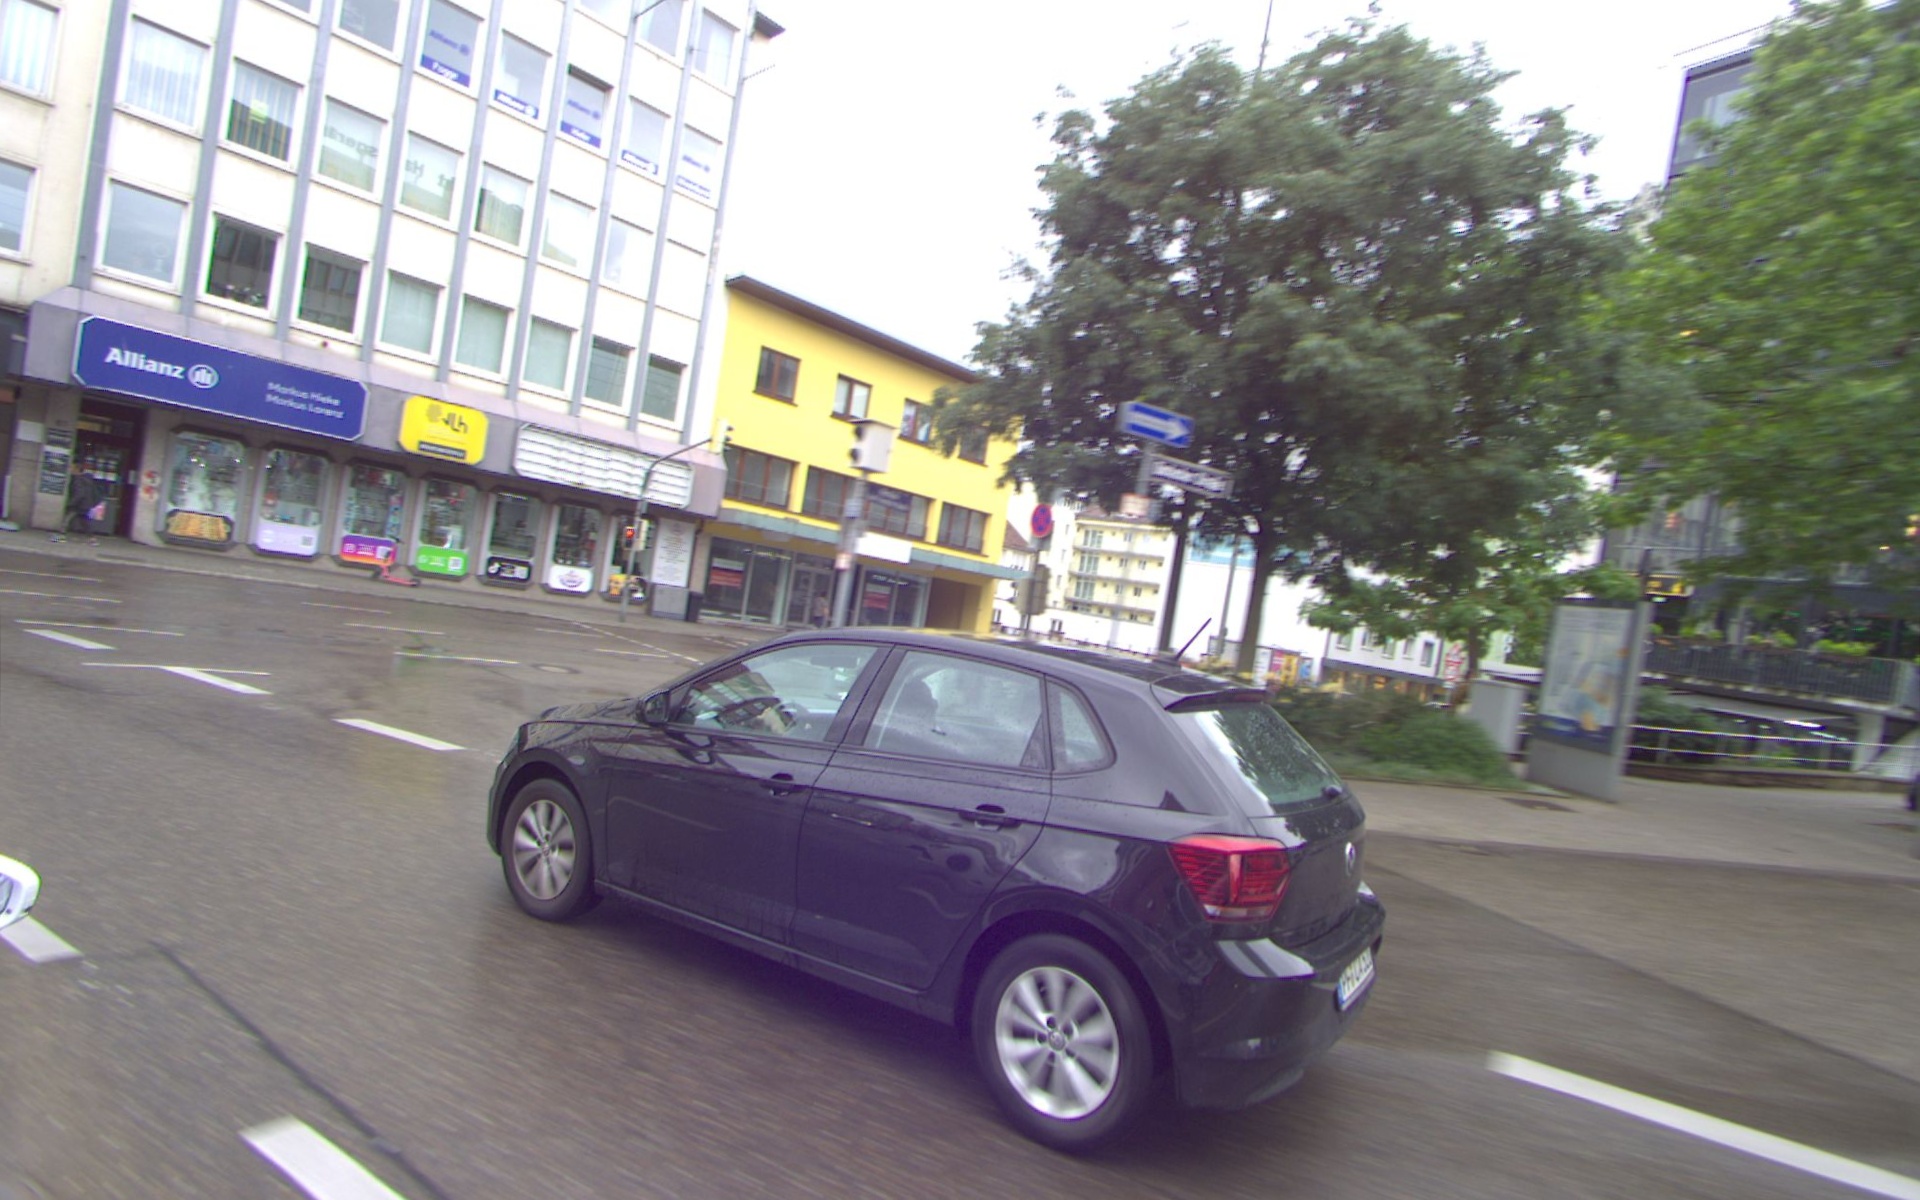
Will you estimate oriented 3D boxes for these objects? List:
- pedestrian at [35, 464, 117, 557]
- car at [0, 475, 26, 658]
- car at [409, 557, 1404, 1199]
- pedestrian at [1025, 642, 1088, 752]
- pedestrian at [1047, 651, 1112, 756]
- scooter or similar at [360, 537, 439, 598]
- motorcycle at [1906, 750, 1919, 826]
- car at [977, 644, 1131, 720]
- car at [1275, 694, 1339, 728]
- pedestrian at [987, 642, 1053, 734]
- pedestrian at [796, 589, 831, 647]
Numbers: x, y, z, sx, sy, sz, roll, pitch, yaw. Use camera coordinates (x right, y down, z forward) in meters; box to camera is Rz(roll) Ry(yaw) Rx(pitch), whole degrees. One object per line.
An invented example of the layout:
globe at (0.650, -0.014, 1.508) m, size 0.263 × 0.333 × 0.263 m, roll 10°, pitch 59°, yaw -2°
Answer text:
pedestrian at (-18.560, -1.873, 21.116) m, size 0.818 × 1.710 × 1.029 m, roll 14°, pitch 4°, yaw 40°
car at (-11.329, -0.645, 9.221) m, size 4.420 × 1.714 × 1.906 m, roll 7°, pitch -2°, yaw 16°
car at (-0.412, 0.778, 4.342) m, size 3.936 × 1.494 × 1.691 m, roll 6°, pitch -2°, yaw 33°
pedestrian at (1.716, 1.723, 17.882) m, size 0.669 × 1.844 × 0.714 m, roll 2°, pitch -7°, yaw 38°
pedestrian at (2.044, 1.766, 17.180) m, size 0.670 × 1.693 × 0.713 m, roll 1°, pitch -8°, yaw 42°
scooter or similar at (-14.350, -0.820, 25.785) m, size 1.510 × 1.224 × 0.613 m, roll 12°, pitch 1°, yaw -42°
motorcycle at (15.016, 2.942, 14.445) m, size 0.619 × 1.131 × 1.934 m, roll 7°, pitch 2°, yaw -14°
car at (2.677, 2.318, 28.002) m, size 4.179 × 1.430 × 1.805 m, roll 11°, pitch 1°, yaw -44°
car at (20.352, 6.504, 58.900) m, size 1.804 × 1.430 × 4.182 m, roll 12°, pitch 1°, yaw 44°
pedestrian at (1.317, 1.938, 22.073) m, size 0.877 × 1.846 × 0.824 m, roll 7°, pitch -3°, yaw 36°
pedestrian at (-5.055, 0.626, 34.832) m, size 0.666 × 1.845 × 0.894 m, roll 6°, pitch -5°, yaw 15°
